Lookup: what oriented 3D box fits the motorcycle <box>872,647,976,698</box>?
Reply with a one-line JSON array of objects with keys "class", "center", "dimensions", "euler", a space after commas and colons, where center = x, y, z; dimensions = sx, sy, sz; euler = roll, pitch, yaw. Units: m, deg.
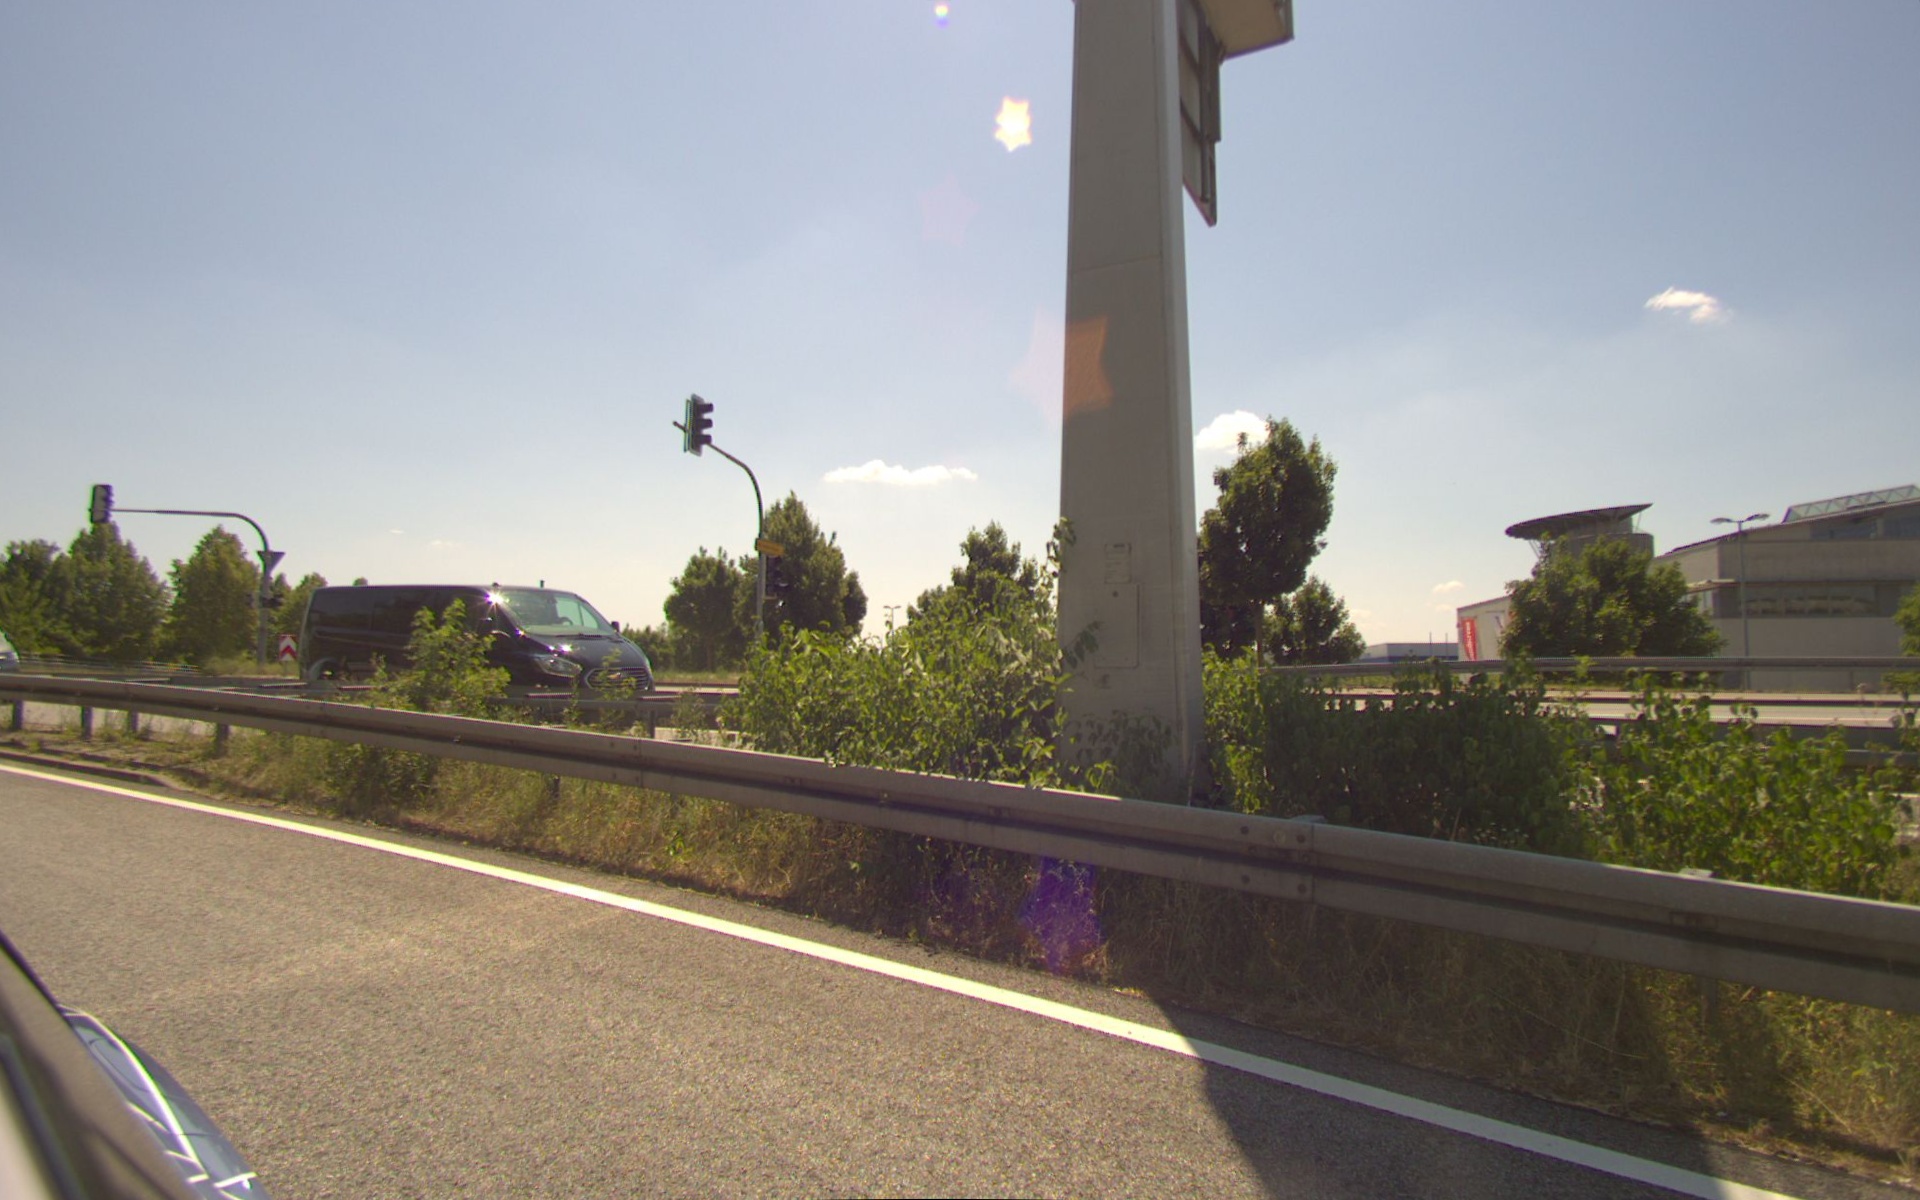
[{"class": "motorcycle", "center": [-0.814, 1.624, 22.729], "dimensions": [2.266, 1.088, 0.561], "euler": [-1, -5, 19]}]

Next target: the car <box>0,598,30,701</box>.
[{"class": "car", "center": [-20.400, 0.908, 19.650], "dimensions": [4.511, 1.934, 1.926], "euler": [-1, -5, 28]}]

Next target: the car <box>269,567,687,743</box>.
[{"class": "car", "center": [-6.428, 0.665, 13.409], "dimensions": [5.382, 1.952, 2.107], "euler": [0, -3, 26]}]

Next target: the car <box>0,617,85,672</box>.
[{"class": "car", "center": [-30.887, 1.497, 33.149], "dimensions": [1.658, 1.536, 4.010], "euler": [2, -7, -15]}]

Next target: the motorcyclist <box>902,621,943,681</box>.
[{"class": "motorcyclist", "center": [-0.833, 1.149, 22.777], "dimensions": [0.717, 1.313, 0.672], "euler": [-1, -5, 18]}]
